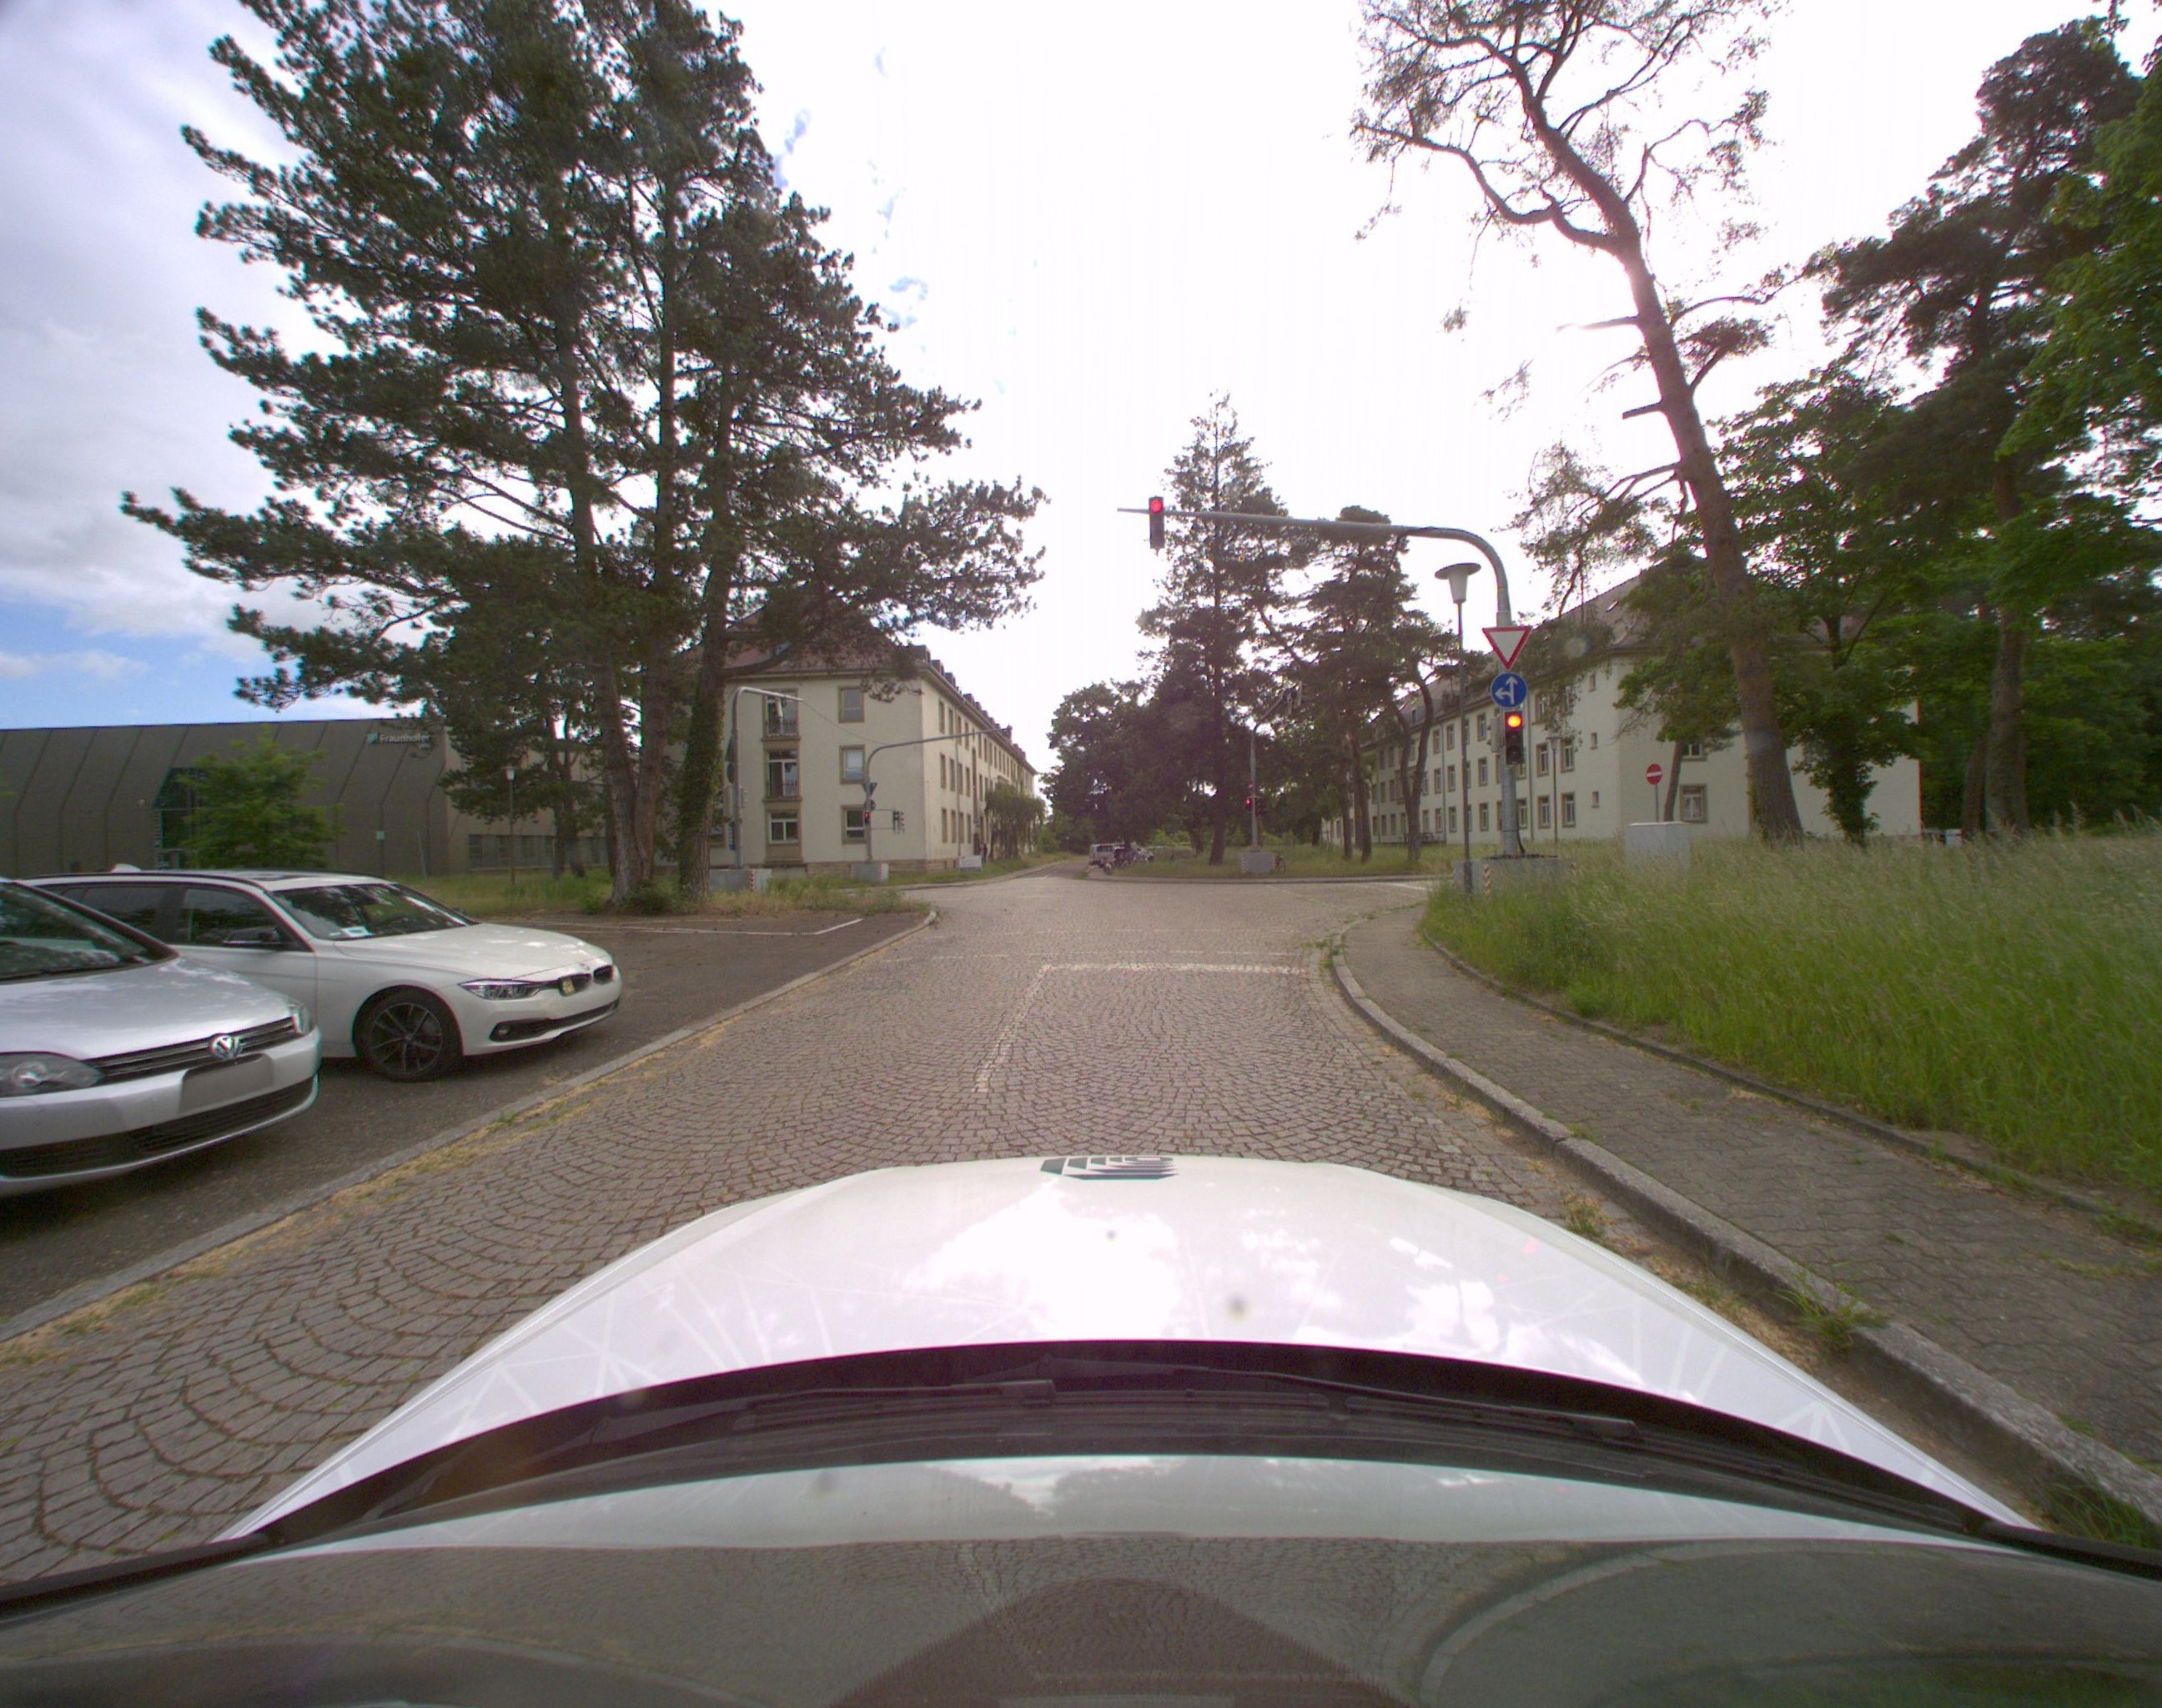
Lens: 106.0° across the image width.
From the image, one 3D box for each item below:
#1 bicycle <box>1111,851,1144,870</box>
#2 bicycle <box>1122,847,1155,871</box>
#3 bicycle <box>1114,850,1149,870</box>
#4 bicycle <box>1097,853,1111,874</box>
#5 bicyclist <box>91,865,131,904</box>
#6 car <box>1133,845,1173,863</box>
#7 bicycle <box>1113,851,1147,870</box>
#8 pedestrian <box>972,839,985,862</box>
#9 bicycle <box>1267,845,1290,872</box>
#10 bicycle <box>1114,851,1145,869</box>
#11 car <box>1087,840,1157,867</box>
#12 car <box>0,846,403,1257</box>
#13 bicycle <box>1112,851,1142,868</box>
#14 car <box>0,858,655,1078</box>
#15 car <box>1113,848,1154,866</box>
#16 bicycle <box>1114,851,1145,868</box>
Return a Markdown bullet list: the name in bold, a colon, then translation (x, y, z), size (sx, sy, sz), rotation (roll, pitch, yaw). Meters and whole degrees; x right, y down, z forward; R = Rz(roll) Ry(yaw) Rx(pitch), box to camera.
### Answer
- **bicycle**: translation (2.878, 0.398, 50.142), size (1.966, 1.069, 0.583), rotation (-2, 0, -28)
- **bicycle**: translation (3.495, 0.285, 49.471), size (1.952, 1.384, 0.587), rotation (-1, 0, -5)
- **bicycle**: translation (2.965, 0.363, 48.021), size (1.952, 1.132, 0.587), rotation (-1, 0, -5)
- **bicycle**: translation (1.242, 0.522, 44.869), size (0.602, 1.132, 1.959), rotation (-1, 0, -3)
- **bicyclist**: translation (-36.334, 1.131, 30.520), size (0.746, 1.410, 0.605), rotation (-1, 0, 2)
- **car**: translation (6.156, -0.006, 69.917), size (3.222, 1.416, 1.725), rotation (-2, 0, -1)
- **bicycle**: translation (2.926, 0.383, 48.655), size (1.952, 1.117, 0.587), rotation (-1, 0, -5)
- **pedestrian**: translation (-8.074, -0.276, 64.074), size (0.778, 1.837, 0.734), rotation (-2, 0, -29)
- **bicycle**: translation (8.665, 0.183, 35.742), size (0.584, 1.106, 1.962), rotation (-1, 0, 2)
- **bicycle**: translation (3.081, 0.387, 51.487), size (1.966, 1.069, 0.583), rotation (-2, 0, -28)
- **car**: translation (3.282, -0.031, 66.112), size (5.356, 1.925, 2.020), rotation (-3, 0, -7)
- **car**: translation (-6.009, 0.749, 3.964), size (3.936, 1.563, 1.649), rotation (1, 0, -1)
- **bicycle**: translation (3.143, 0.349, 55.175), size (1.963, 1.069, 0.583), rotation (-2, 0, -23)
- **car**: translation (-5.824, 0.794, 6.494), size (3.933, 1.421, 1.651), rotation (1, 0, 1)
- **car**: translation (4.043, 0.249, 62.725), size (3.000, 1.268, 1.533), rotation (-2, 0, -4)
- **bicycle**: translation (3.158, 0.363, 52.841), size (1.963, 1.069, 0.583), rotation (-2, 0, -23)
